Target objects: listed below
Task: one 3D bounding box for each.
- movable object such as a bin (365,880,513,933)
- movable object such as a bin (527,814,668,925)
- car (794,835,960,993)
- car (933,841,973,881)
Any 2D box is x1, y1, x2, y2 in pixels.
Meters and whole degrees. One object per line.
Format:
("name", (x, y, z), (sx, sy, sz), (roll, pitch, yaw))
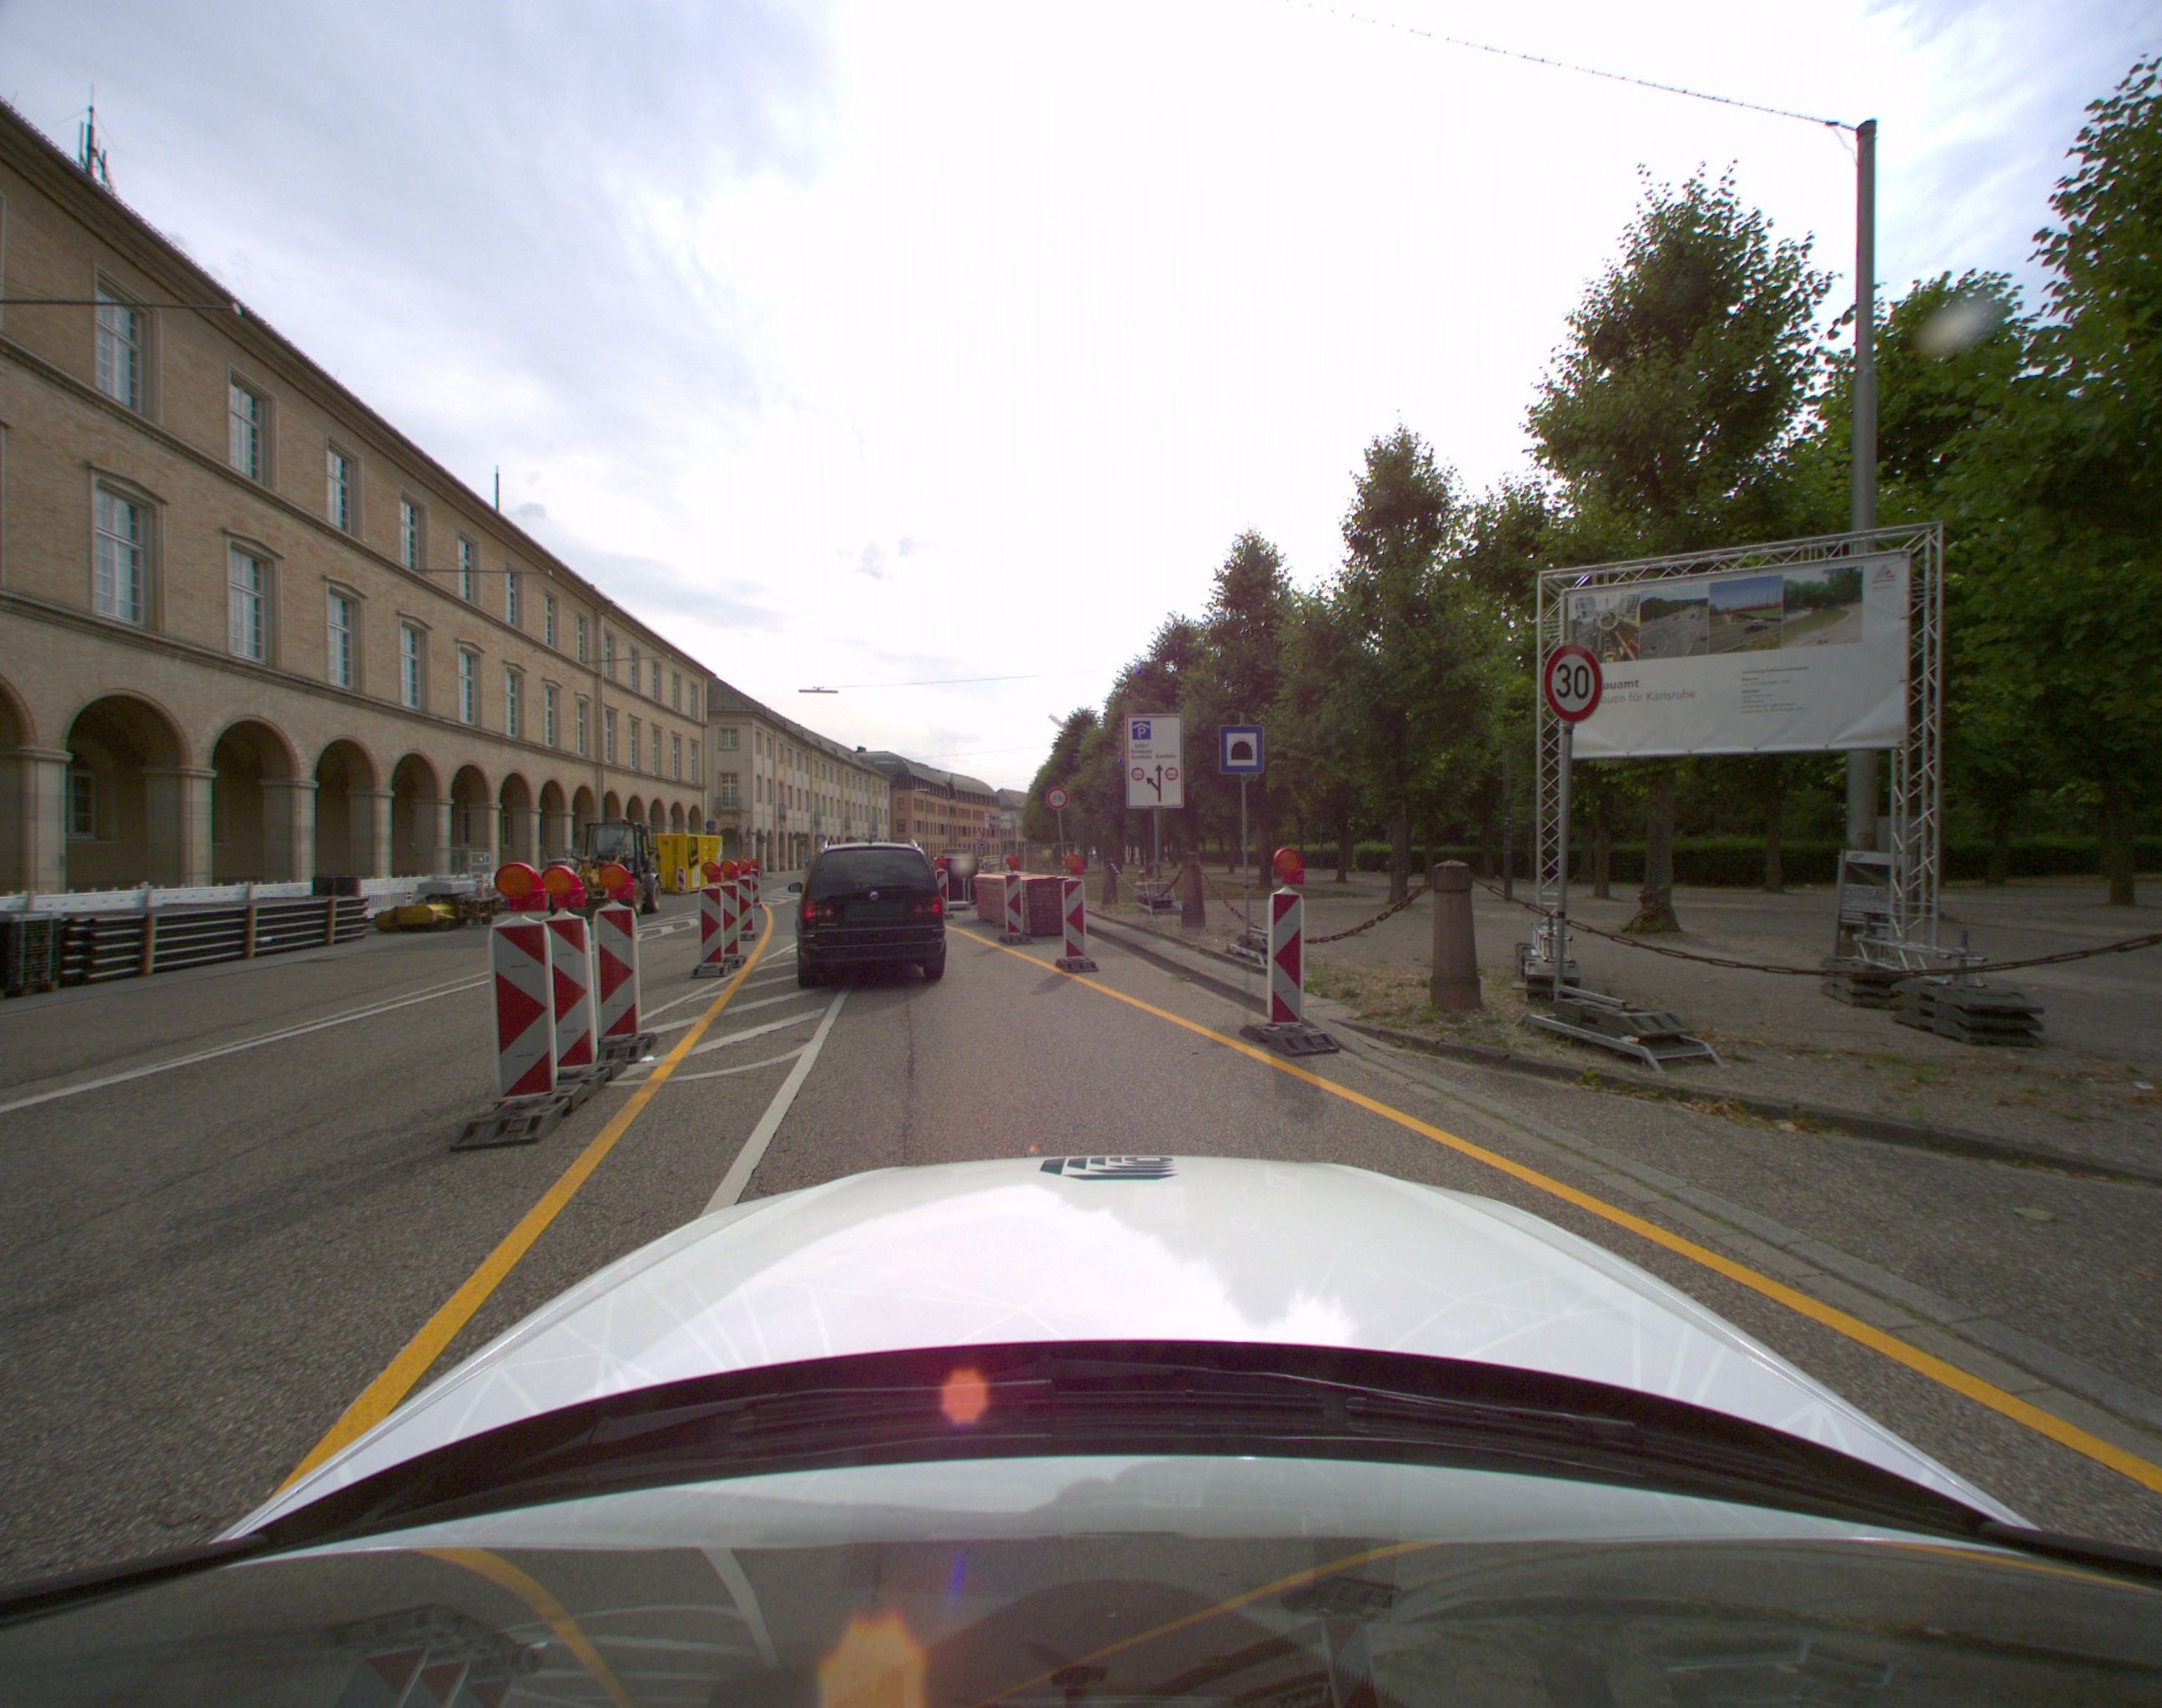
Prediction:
("movable object such as a bin", (-15.402, 1.228, 19.716), (1.809, 1.125, 2.735), (-1, -1, -13))
("movable object such as a bin", (-13.119, 0.367, 22.472), (2.119, 2.718, 4.596), (-1, 0, -15))
("car", (-2.928, 0.653, 11.159), (1.799, 1.708, 4.105), (-1, 0, -19))
("car", (-7.208, 0.338, 45.512), (1.995, 2.013, 4.328), (-1, 2, -12))
